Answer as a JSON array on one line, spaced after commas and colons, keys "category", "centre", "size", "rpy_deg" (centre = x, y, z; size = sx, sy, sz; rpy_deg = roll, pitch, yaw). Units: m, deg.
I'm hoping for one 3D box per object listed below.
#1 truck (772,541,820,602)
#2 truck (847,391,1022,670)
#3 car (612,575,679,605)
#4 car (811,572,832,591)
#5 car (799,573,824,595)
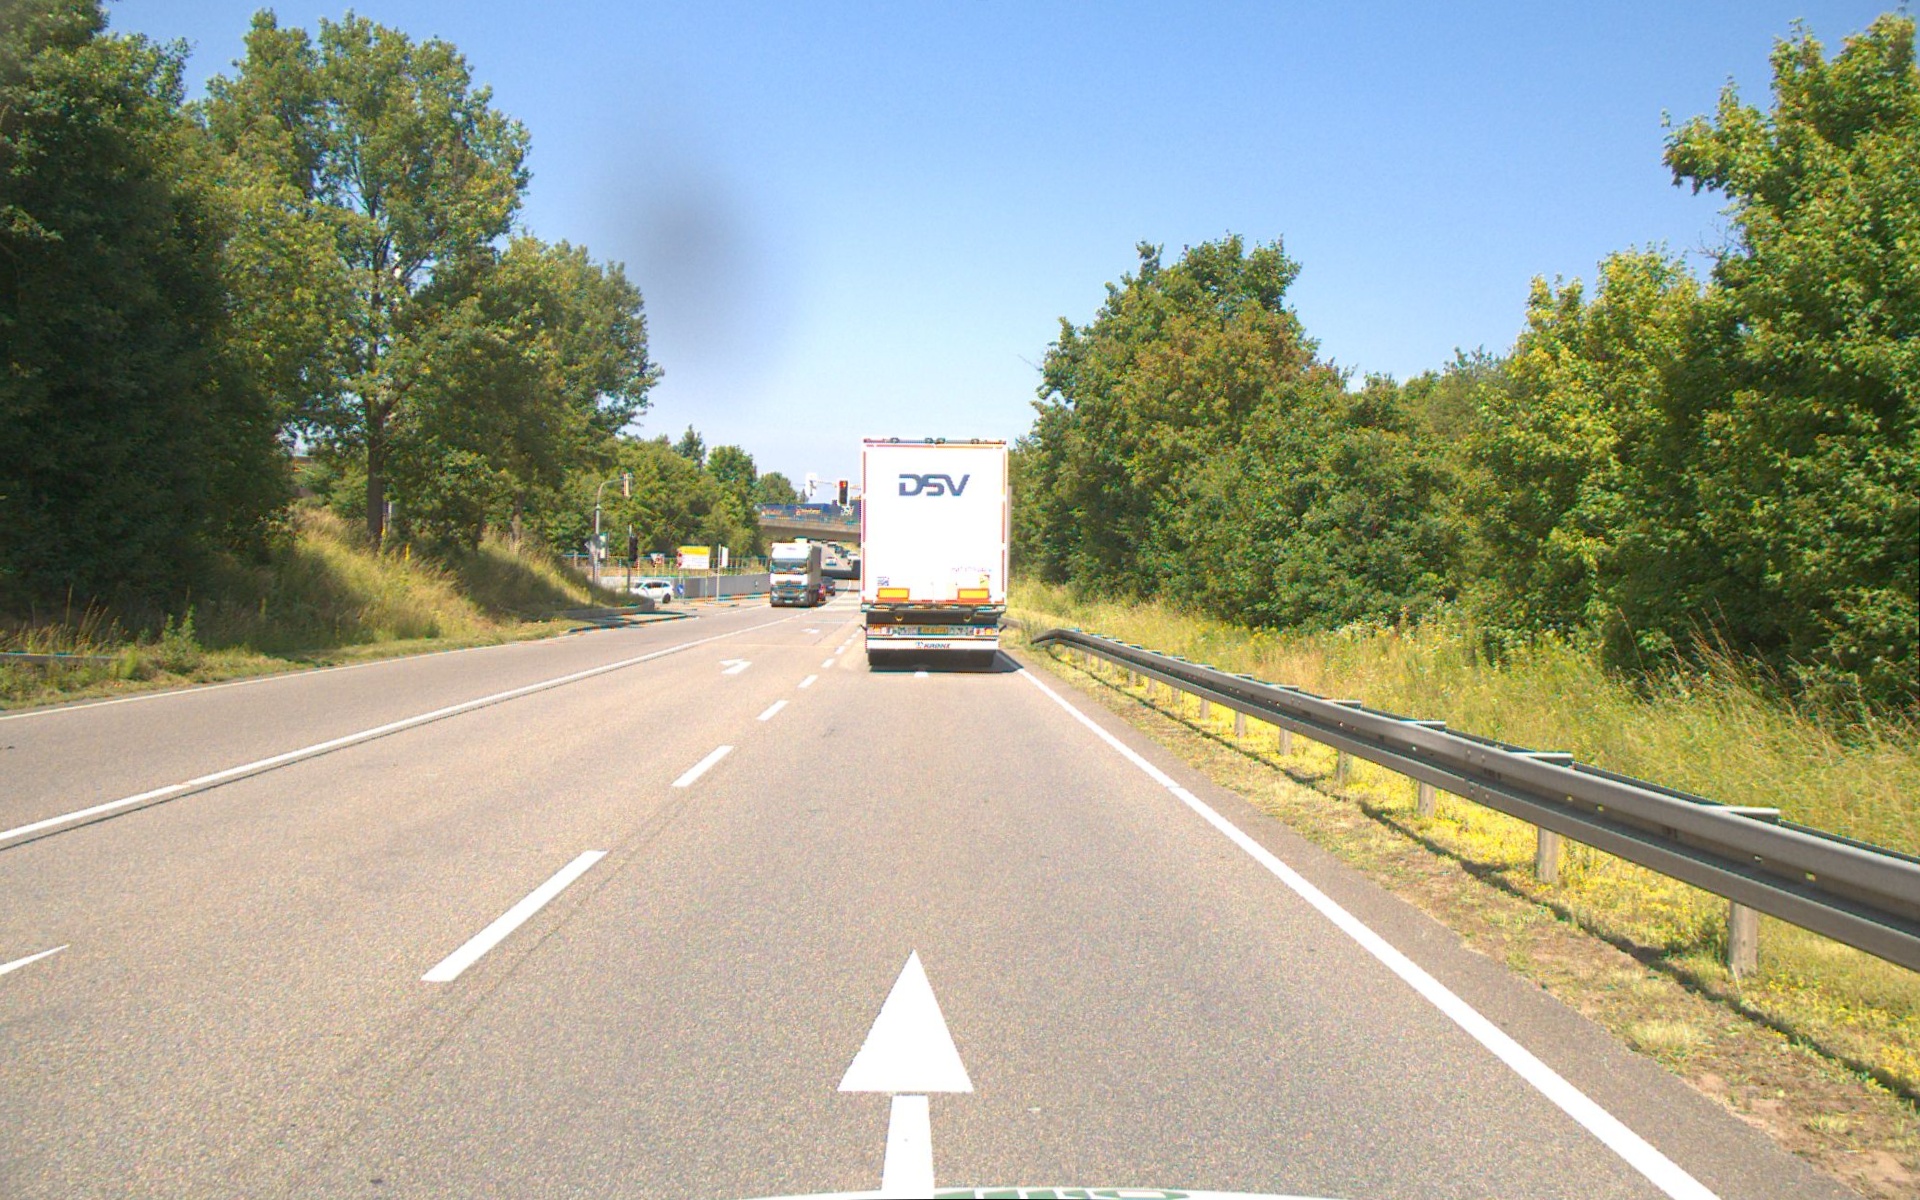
[{"category": "truck", "centre": [-10.881, -1.876, 110.494], "size": [2.306, 3.815, 12.621], "rpy_deg": [1, 1, -2]}, {"category": "truck", "centre": [-0.541, -1.209, 32.716], "size": [2.890, 4.648, 9.860], "rpy_deg": [1, 0, -1]}, {"category": "car", "centre": [-20.280, -0.656, 106.703], "size": [1.769, 1.904, 4.409], "rpy_deg": [1, 1, 31]}, {"category": "car", "centre": [-12.544, -1.665, 150.029], "size": [1.712, 1.654, 3.702], "rpy_deg": [1, 1, -2]}, {"category": "car", "centre": [-11.469, -1.278, 127.881], "size": [1.712, 1.654, 3.702], "rpy_deg": [1, 1, -2]}]
